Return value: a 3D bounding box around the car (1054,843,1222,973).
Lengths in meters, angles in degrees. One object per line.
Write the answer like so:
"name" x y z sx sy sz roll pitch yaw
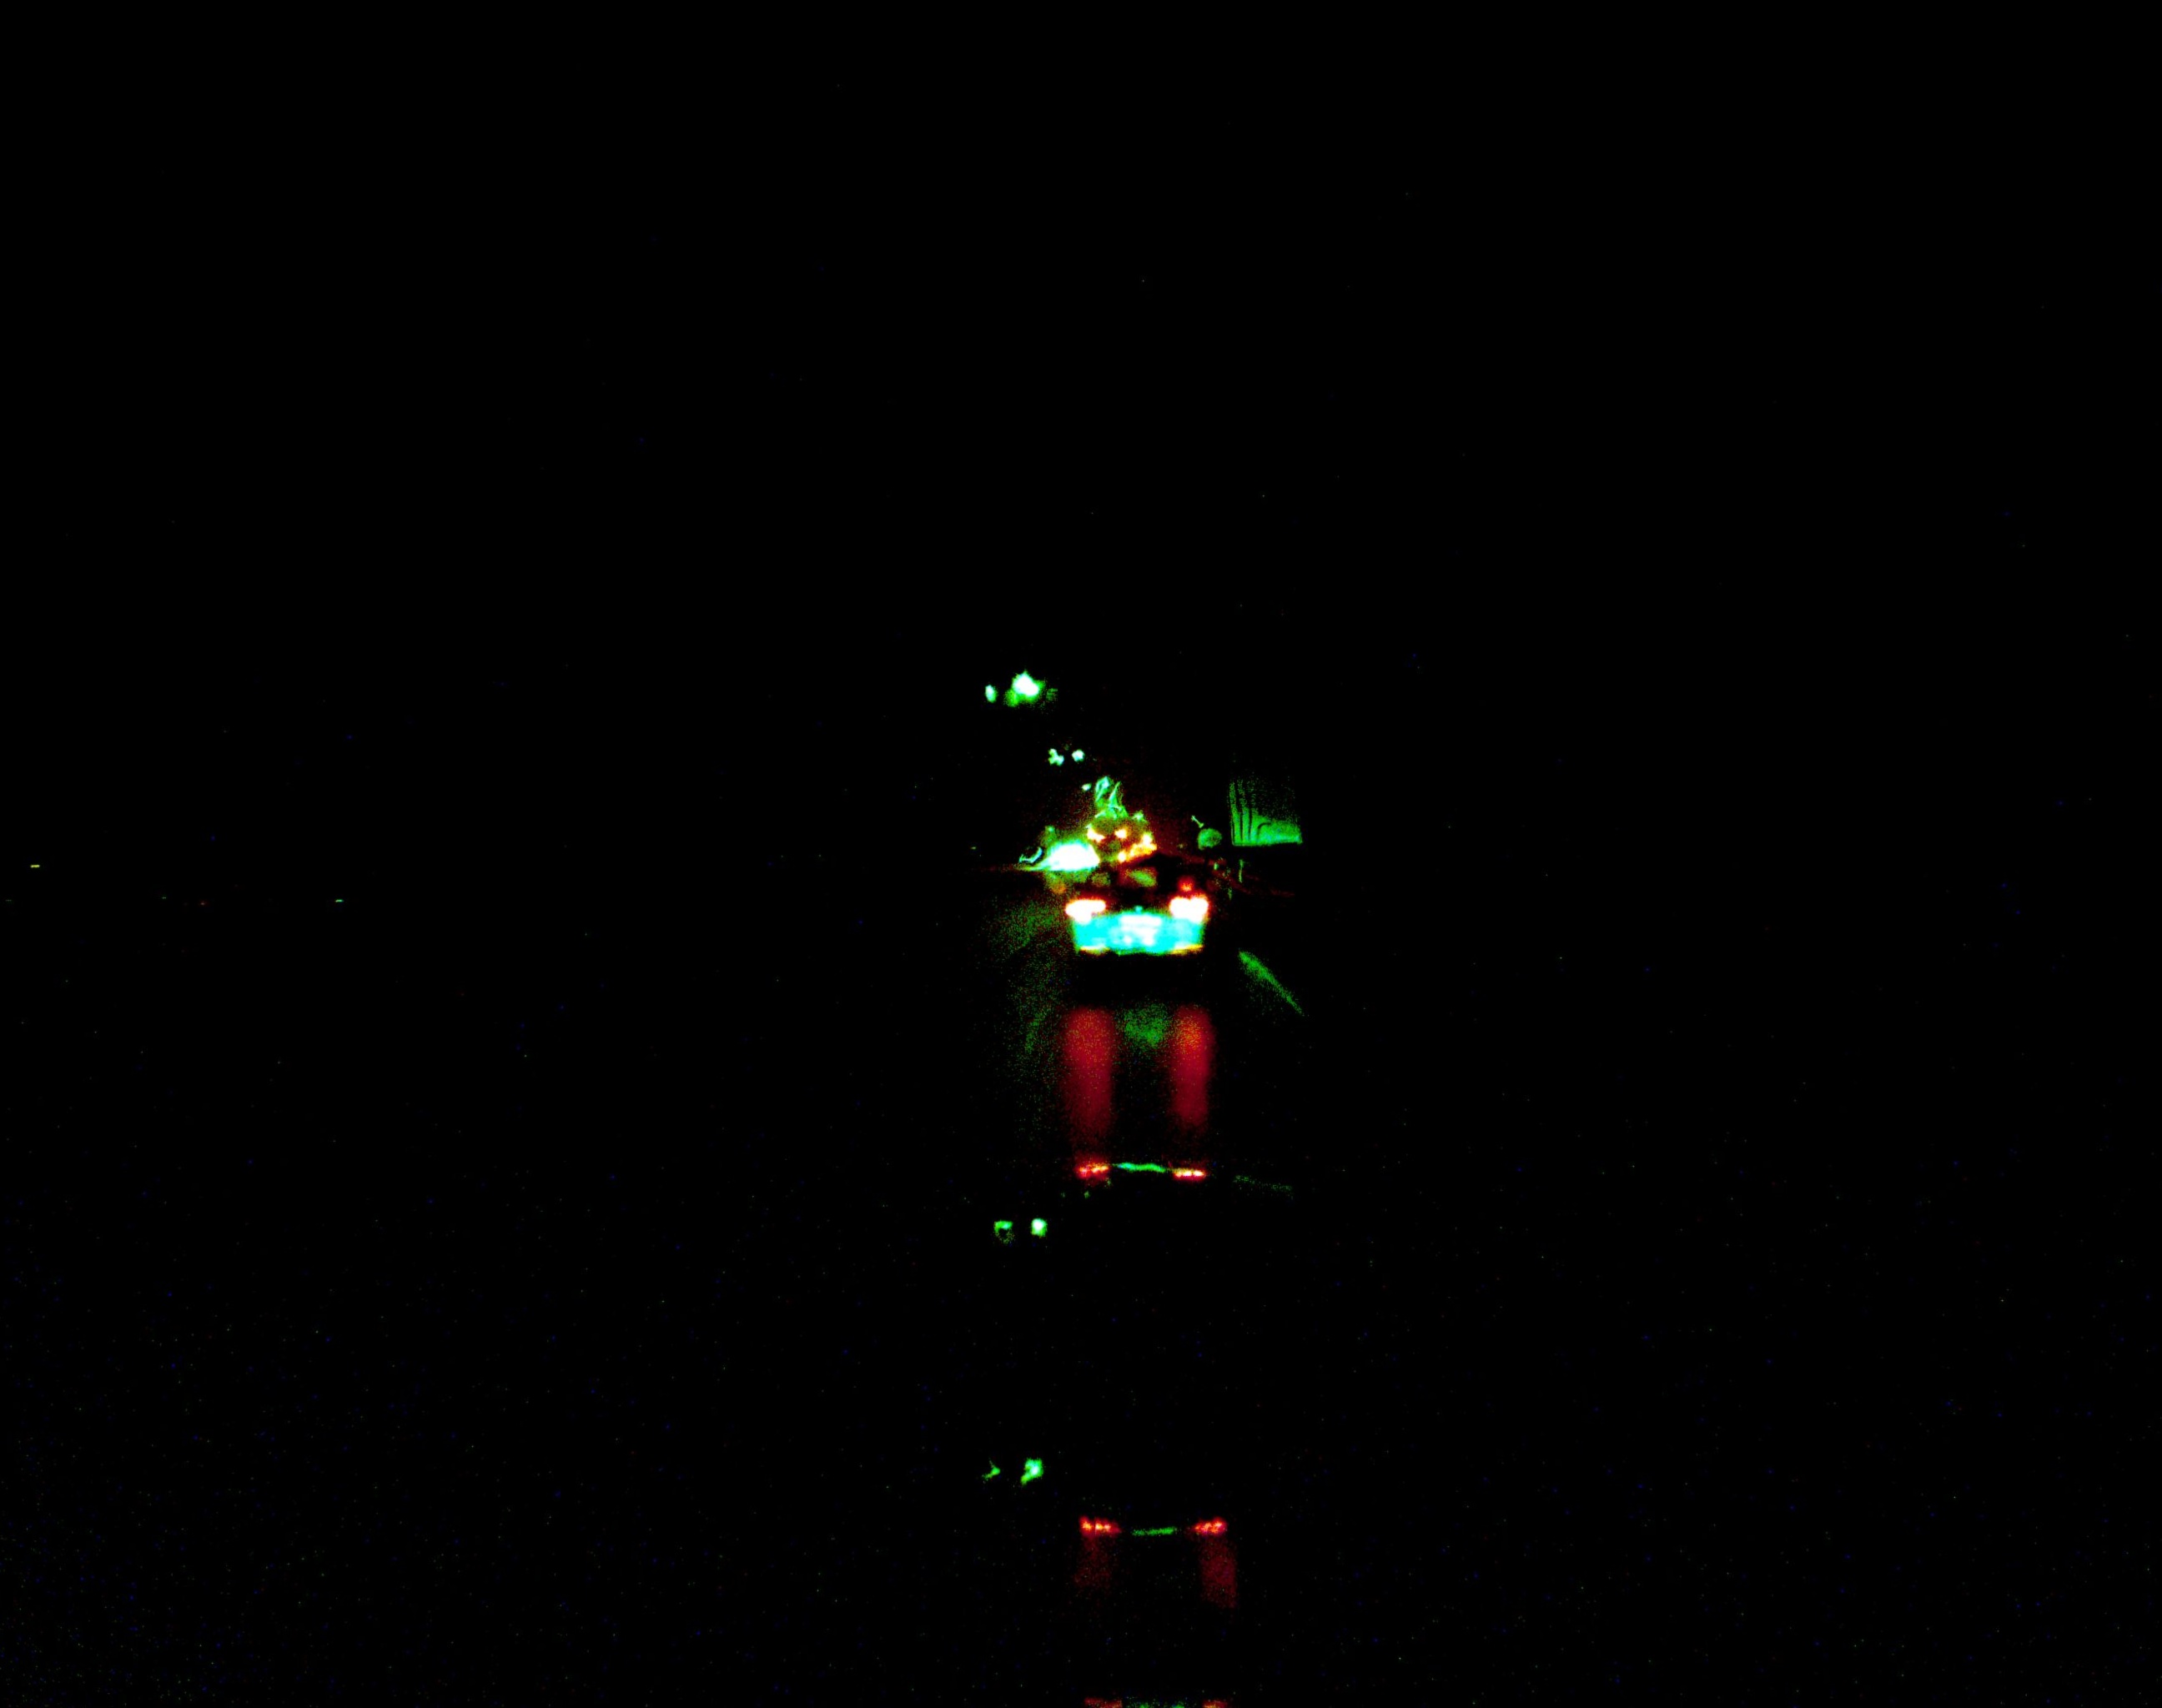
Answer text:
"car" 0.948 0.652 11.340 1.933 1.491 3.725 -1 0 9

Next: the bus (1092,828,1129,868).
"bus" 2.585 -0.514 68.763 2.731 3.123 9.214 0 0 5

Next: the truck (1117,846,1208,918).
"truck" 3.414 1.045 32.410 3.051 2.528 7.186 0 -1 10
